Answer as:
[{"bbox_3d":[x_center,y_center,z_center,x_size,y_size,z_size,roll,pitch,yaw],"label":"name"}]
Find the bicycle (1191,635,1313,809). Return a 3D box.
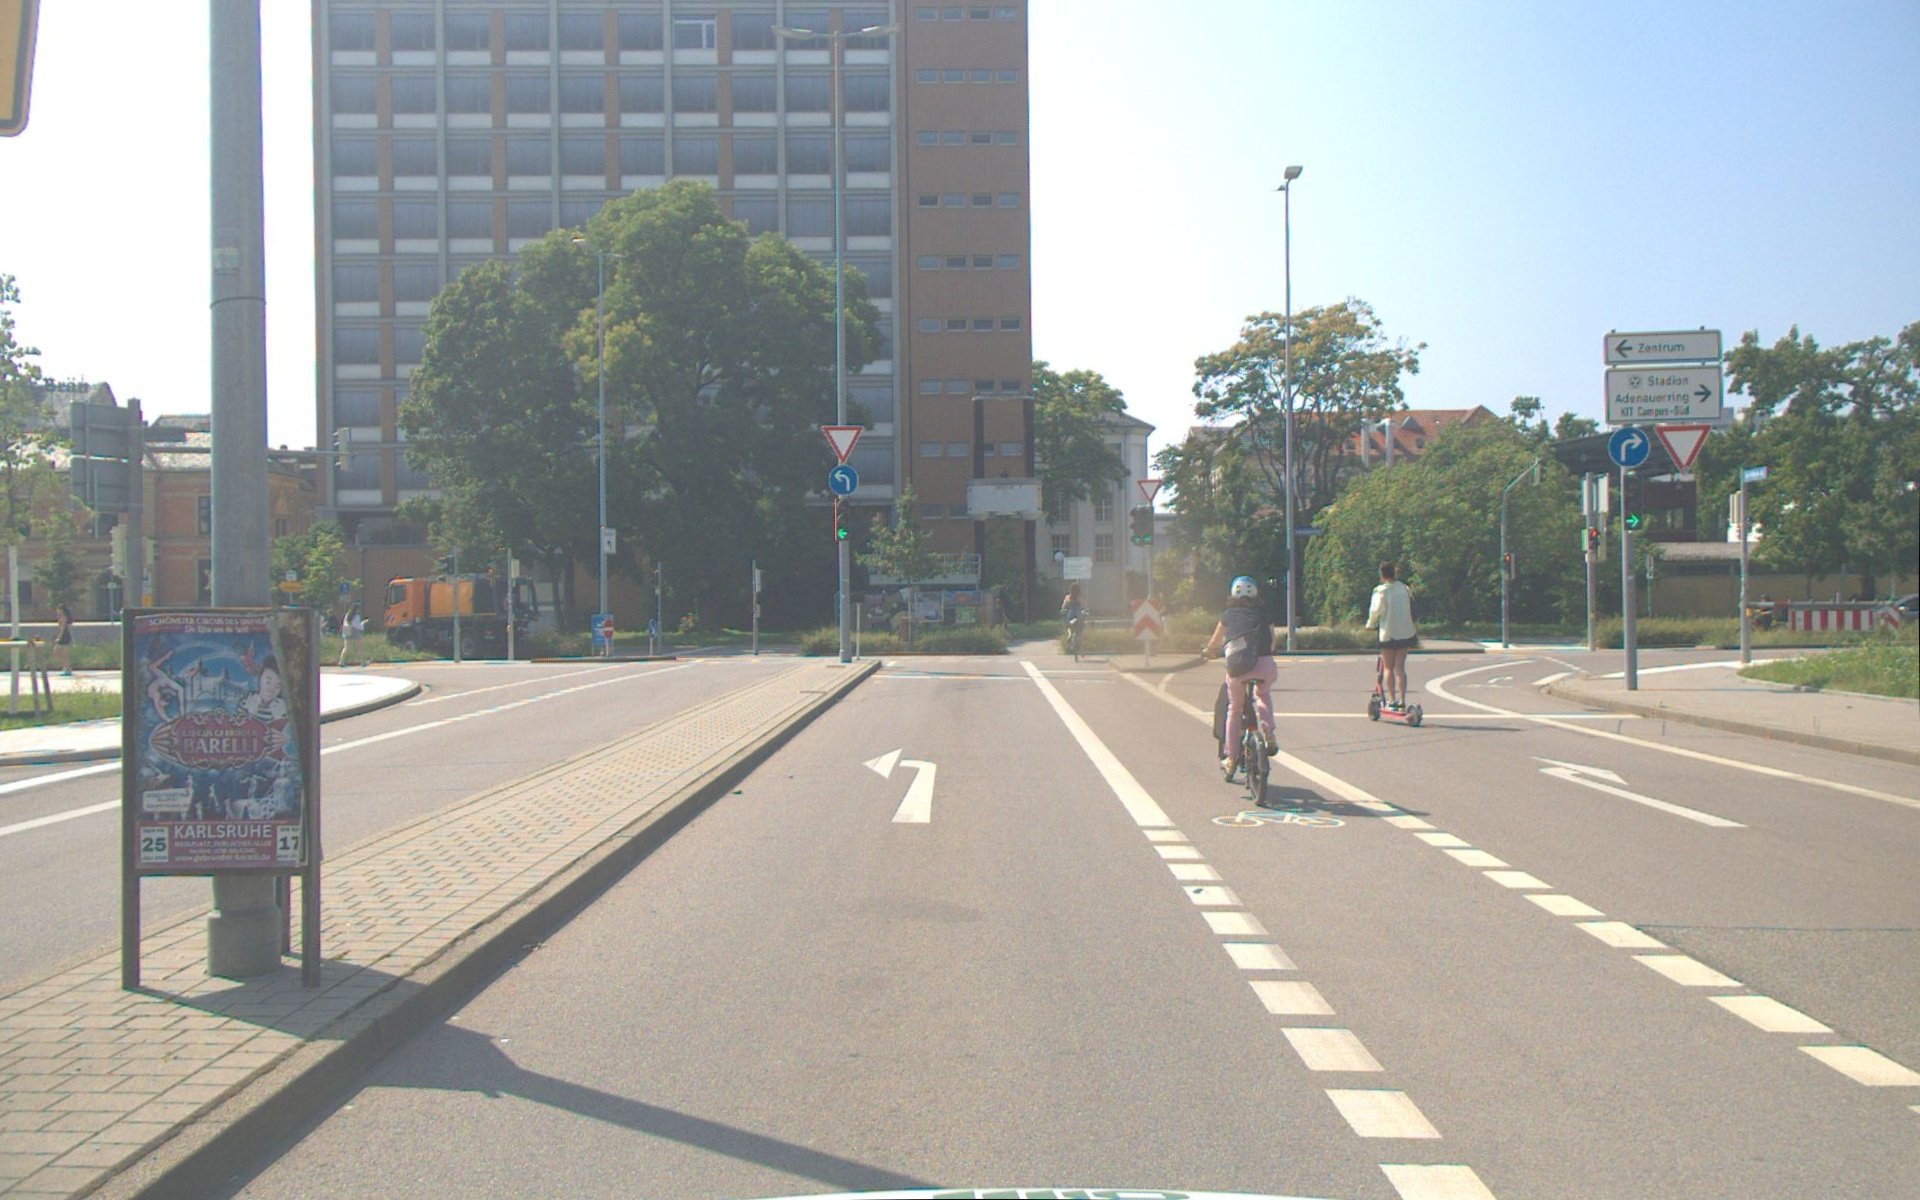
[{"bbox_3d":[2.204,0.885,12.663,0.591,1.183,1.810,-1,0,0],"label":"bicycle"}]

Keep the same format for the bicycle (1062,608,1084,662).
[{"bbox_3d":[2.478,0.755,36.217,0.435,1.136,1.447,-1,0,4],"label":"bicycle"}]

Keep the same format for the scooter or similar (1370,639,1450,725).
[{"bbox_3d":[5.390,0.965,19.900,0.755,0.943,1.622,0,0,9],"label":"scooter or similar"}]

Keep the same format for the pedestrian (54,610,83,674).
[{"bbox_3d":[-22.403,1.052,41.557,0.410,1.579,0.528,-1,0,44],"label":"pedestrian"}]

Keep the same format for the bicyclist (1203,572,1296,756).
[{"bbox_3d":[2.195,0.472,12.580,0.590,1.358,0.660,-1,0,1],"label":"bicyclist"}]

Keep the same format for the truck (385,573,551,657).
[{"bbox_3d":[-18.487,0.579,62.145,5.834,3.042,2.701,-1,-1,29],"label":"truck"}]

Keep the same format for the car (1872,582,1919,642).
[{"bbox_3d":[27.334,0.275,45.110,3.904,1.592,1.824,-1,0,2],"label":"car"}]

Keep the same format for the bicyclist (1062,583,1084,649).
[{"bbox_3d":[2.483,0.346,36.334,0.440,1.446,0.496,-1,0,4],"label":"bicyclist"}]

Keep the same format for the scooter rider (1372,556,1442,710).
[{"bbox_3d":[5.359,0.392,19.858,0.745,1.806,0.555,-1,0,10],"label":"scooter rider"}]
